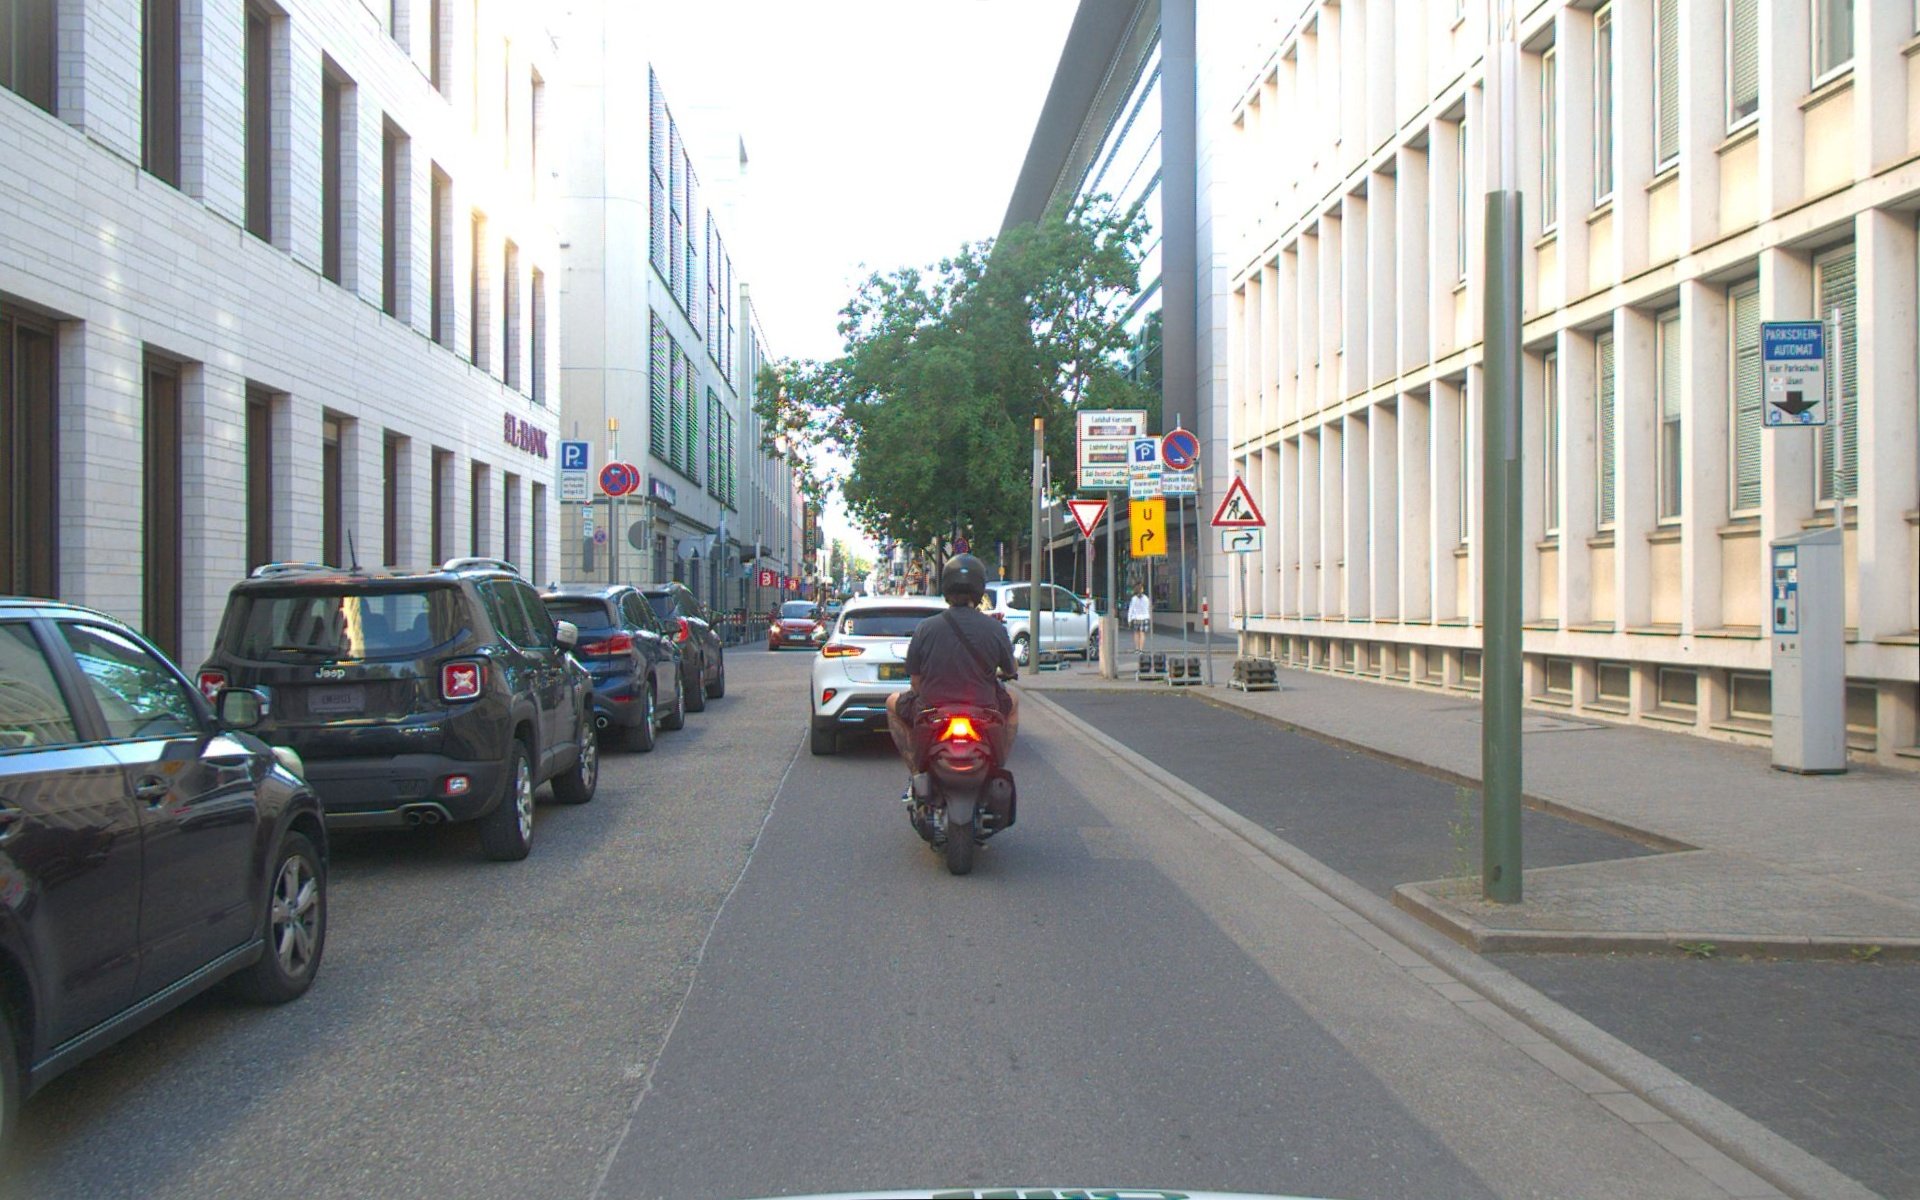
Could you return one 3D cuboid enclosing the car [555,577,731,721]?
[{"bbox_3d":[-4.230,0.588,22.660,1.786,1.707,4.260,-2,1,-4],"label":"car"}]

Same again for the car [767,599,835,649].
[{"bbox_3d":[-4.977,0.781,52.140,1.785,1.491,4.262,0,-2,-1],"label":"car"}]

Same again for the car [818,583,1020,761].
[{"bbox_3d":[-0.504,0.620,16.866,1.786,1.568,4.260,0,0,-4],"label":"car"}]

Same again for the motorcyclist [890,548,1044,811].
[{"bbox_3d":[0.032,0.445,9.384,0.849,1.452,0.455,0,-1,-2],"label":"motorcyclist"}]

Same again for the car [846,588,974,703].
[{"bbox_3d":[-0.867,0.636,26.017,1.786,1.568,4.361,-2,1,-4],"label":"car"}]

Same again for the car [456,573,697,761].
[{"bbox_3d":[-3.797,0.588,17.038,1.705,1.622,4.150,-2,1,-4],"label":"car"}]

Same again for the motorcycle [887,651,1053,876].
[{"bbox_3d":[0.022,0.877,9.504,0.855,1.129,1.839,0,-1,-2],"label":"motorcycle"}]

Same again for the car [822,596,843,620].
[{"bbox_3d":[-12.948,0.832,167.443,1.955,2.370,5.015,1,0,-5],"label":"car"}]

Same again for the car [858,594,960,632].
[{"bbox_3d":[-2.550,0.653,82.198,4.908,1.525,1.998,-4,0,-6],"label":"car"}]

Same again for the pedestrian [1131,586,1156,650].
[{"bbox_3d":[4.635,0.460,41.809,0.548,1.611,0.598,0,-1,-1],"label":"pedestrian"}]

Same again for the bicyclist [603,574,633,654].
[{"bbox_3d":[-7.639,0.314,36.914,0.543,1.762,0.497,1,-1,-26],"label":"bicyclist"}]

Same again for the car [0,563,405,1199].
[{"bbox_3d":[-3.221,0.692,5.158,1.786,1.568,4.260,0,0,-4],"label":"car"}]

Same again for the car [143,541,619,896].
[{"bbox_3d":[-3.394,0.590,10.544,1.786,1.744,4.014,-2,1,-4],"label":"car"}]

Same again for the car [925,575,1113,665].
[{"bbox_3d":[1.342,0.396,35.462,1.792,1.674,4.477,-2,1,36],"label":"car"}]

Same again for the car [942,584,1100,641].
[{"bbox_3d":[1.984,0.419,54.771,4.908,1.477,1.998,-4,0,-6],"label":"car"}]
